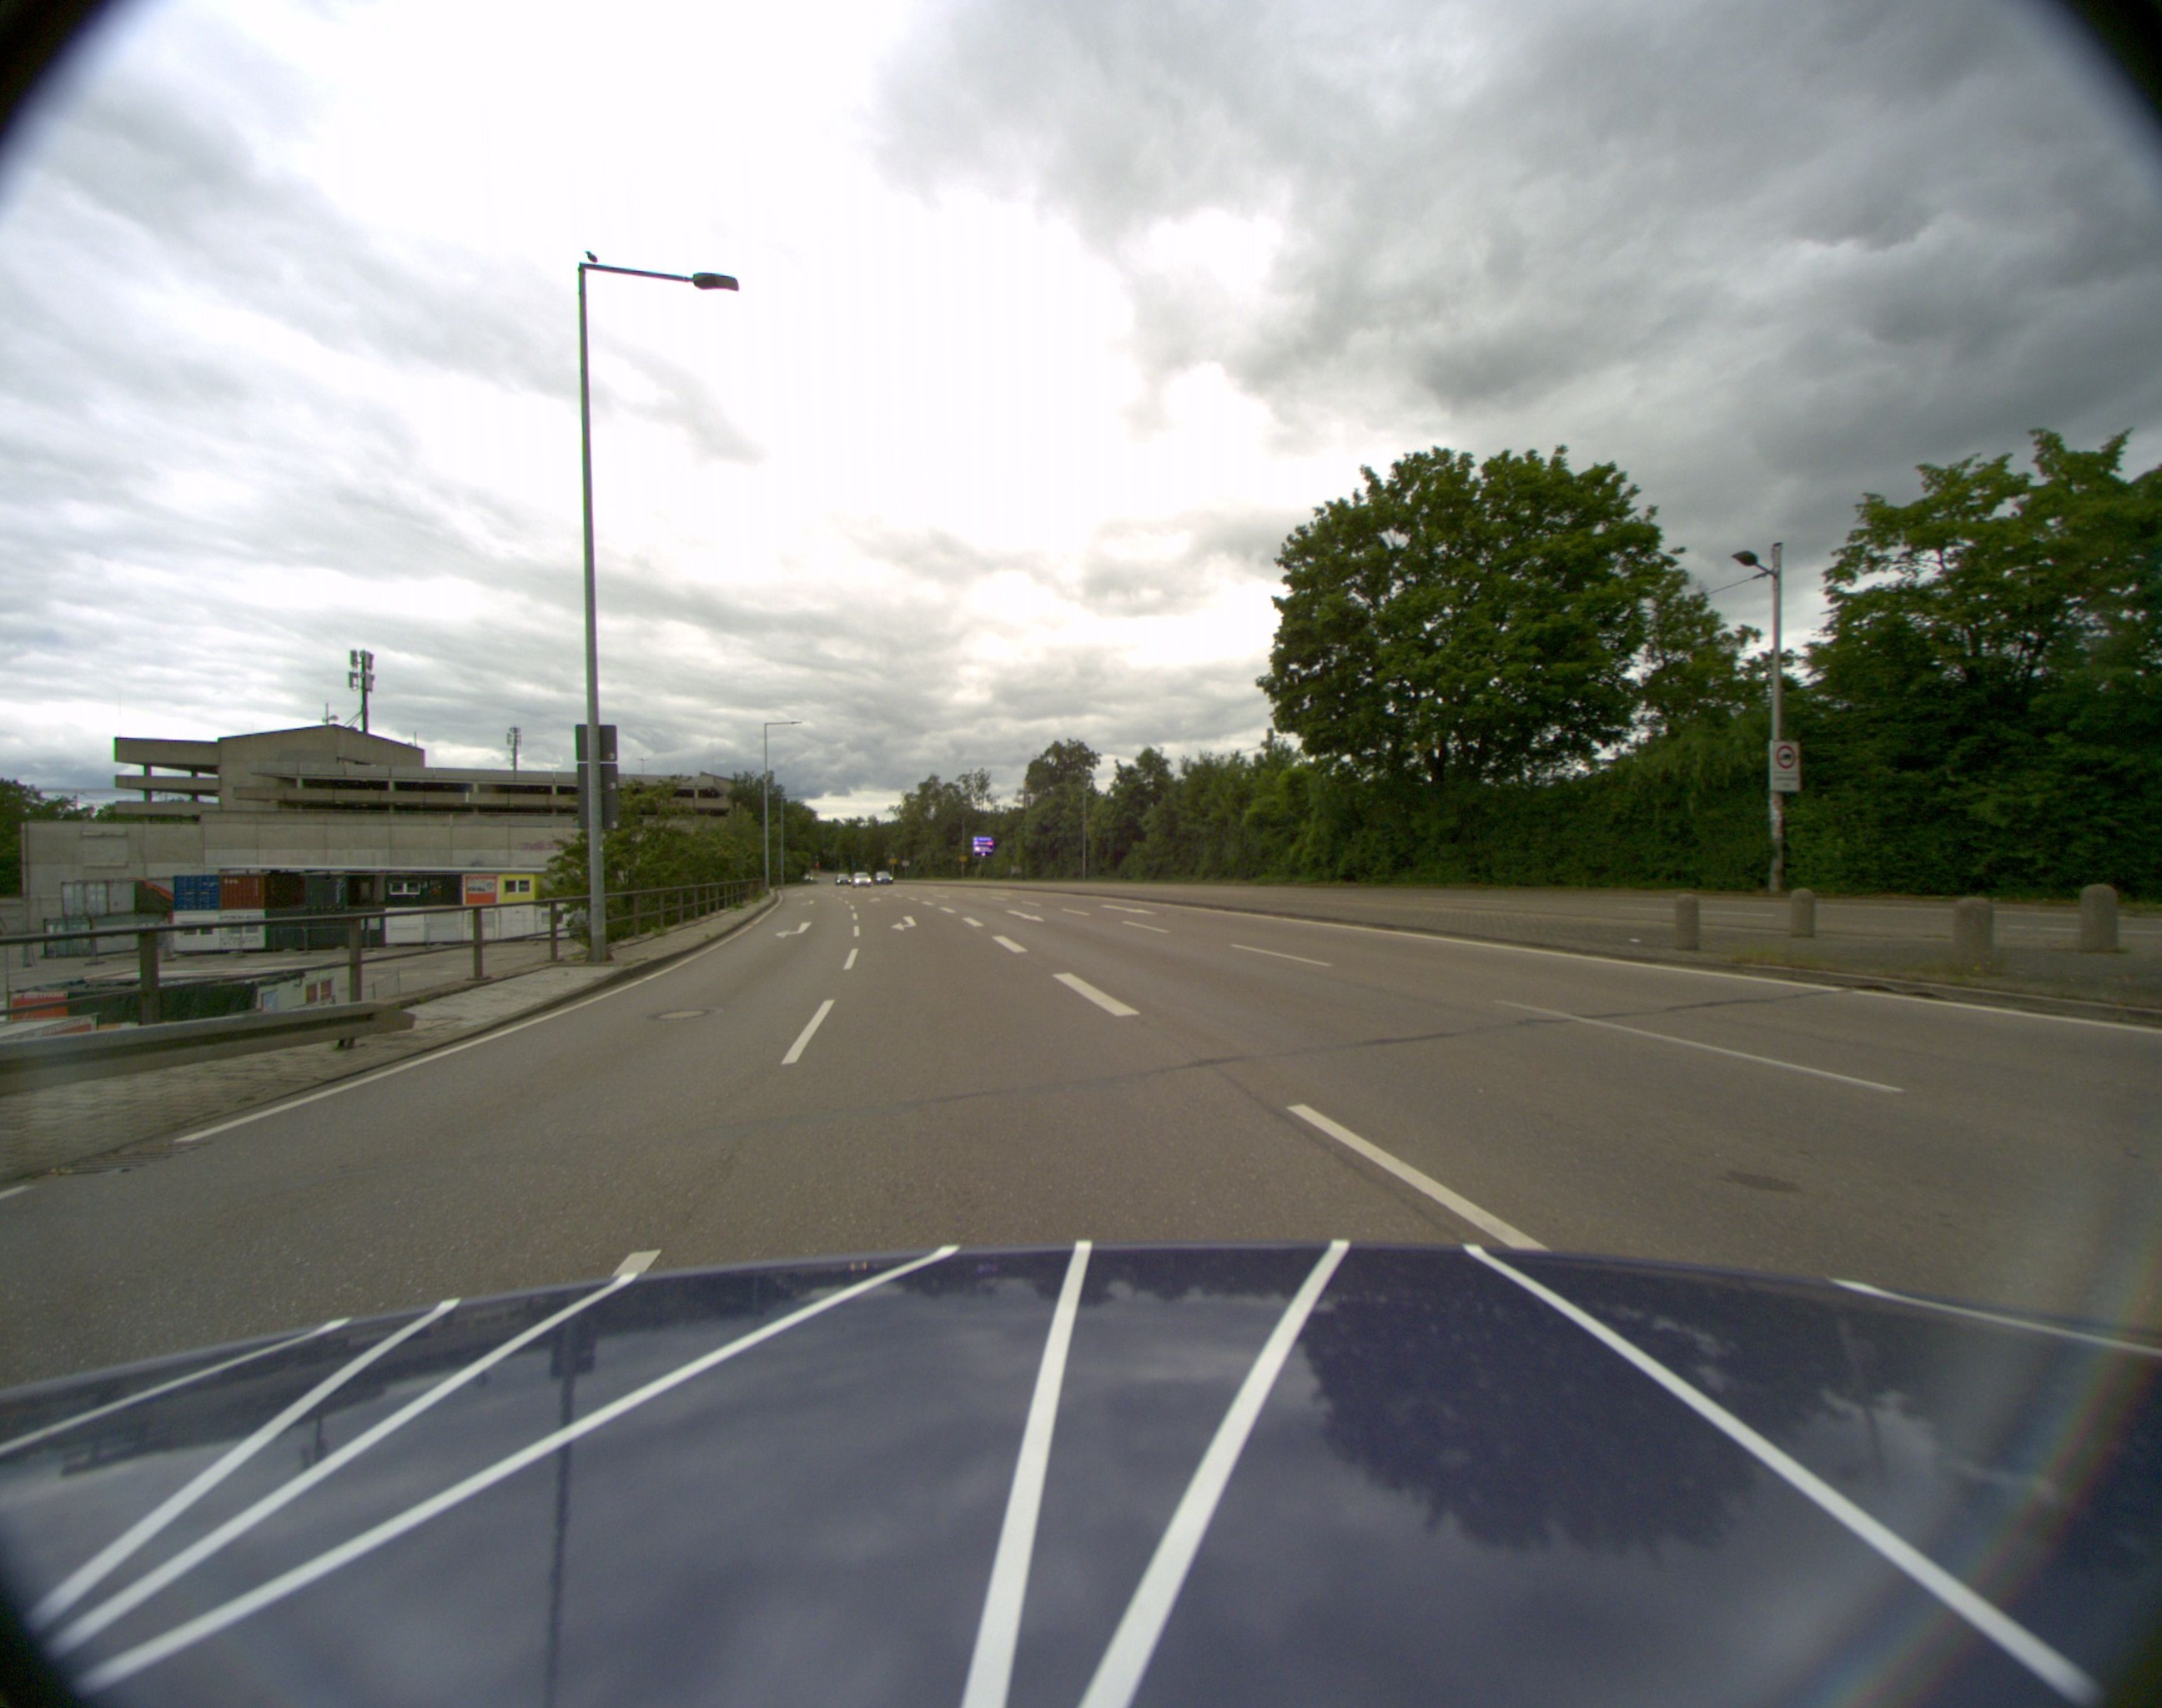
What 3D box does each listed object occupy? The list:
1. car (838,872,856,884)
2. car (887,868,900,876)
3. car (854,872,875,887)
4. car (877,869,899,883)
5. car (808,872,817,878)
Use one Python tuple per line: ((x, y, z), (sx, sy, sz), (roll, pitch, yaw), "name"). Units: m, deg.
((-29.682, 2.986, 96.278), (1.868, 1.408, 4.331), (-2, 0, -20), "car")
((-35.005, 3.346, 141.840), (1.706, 1.455, 3.993), (-3, 0, -21), "car")
((-21.637, 2.509, 75.835), (1.612, 1.408, 3.585), (-2, 0, -21), "car")
((-21.834, 2.471, 85.673), (1.845, 1.408, 4.572), (-2, 0, -21), "car")
((-65.977, 5.094, 186.827), (1.868, 1.408, 4.331), (-2, 0, -21), "car")
